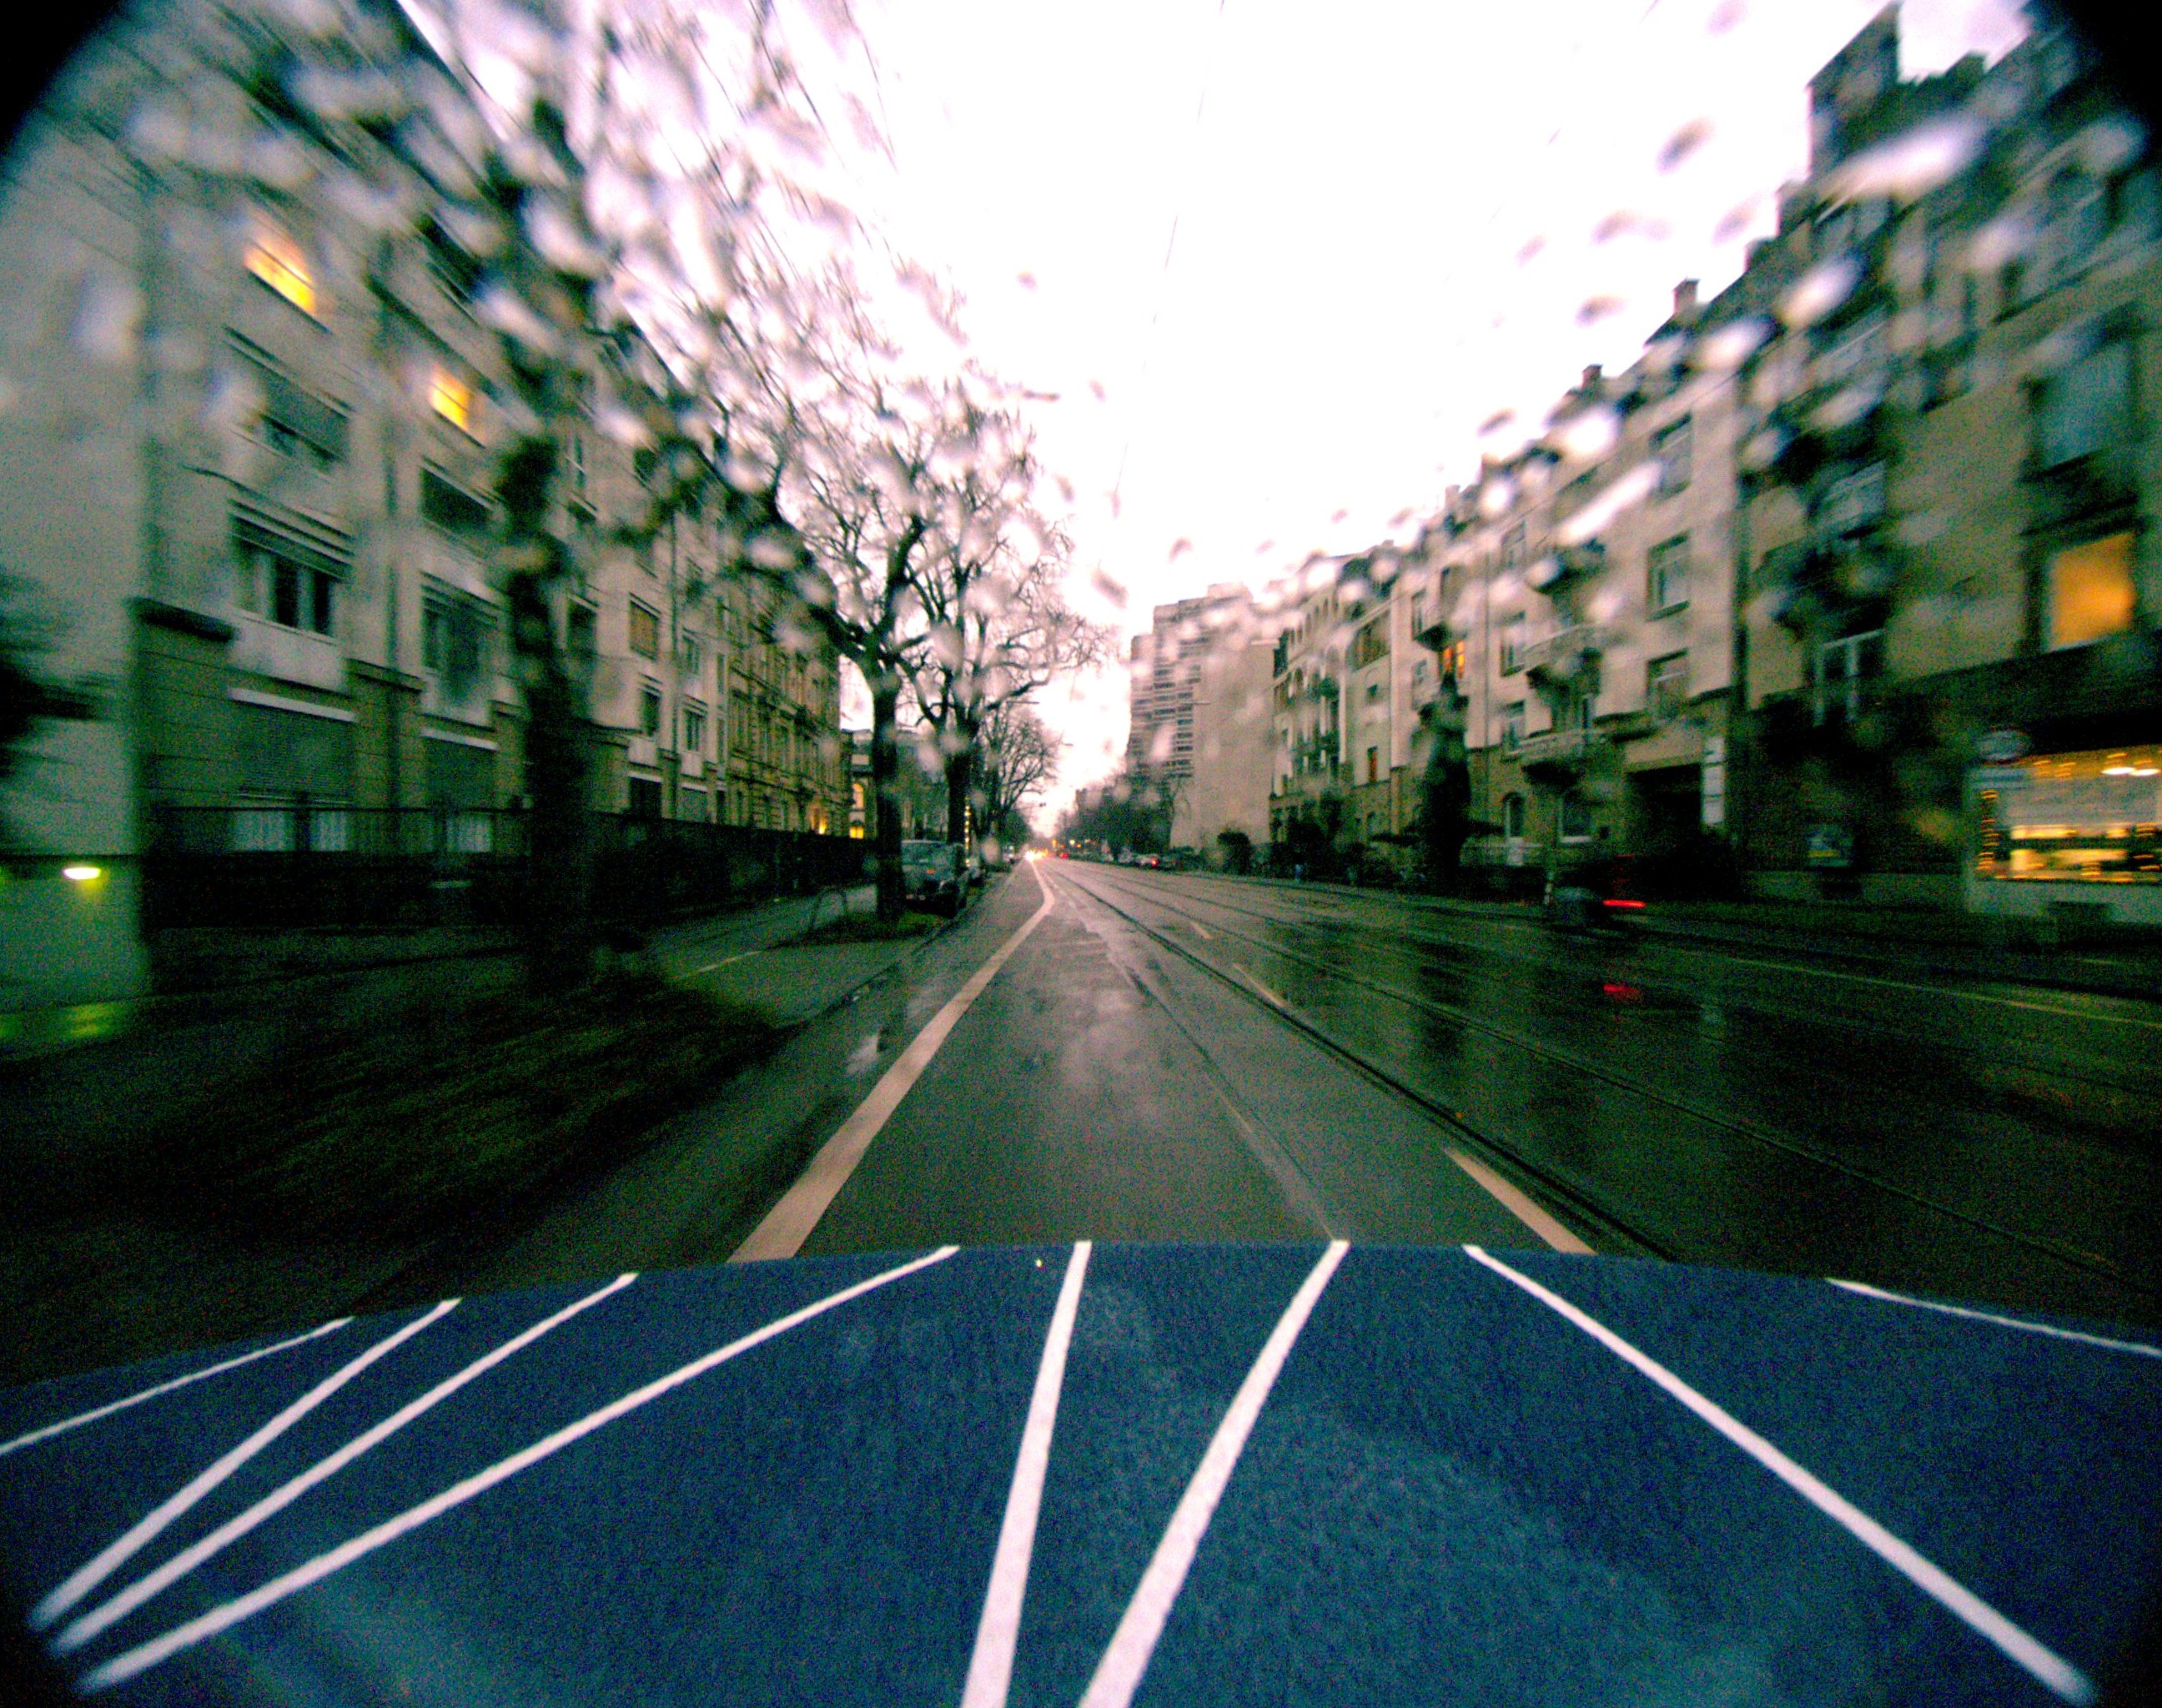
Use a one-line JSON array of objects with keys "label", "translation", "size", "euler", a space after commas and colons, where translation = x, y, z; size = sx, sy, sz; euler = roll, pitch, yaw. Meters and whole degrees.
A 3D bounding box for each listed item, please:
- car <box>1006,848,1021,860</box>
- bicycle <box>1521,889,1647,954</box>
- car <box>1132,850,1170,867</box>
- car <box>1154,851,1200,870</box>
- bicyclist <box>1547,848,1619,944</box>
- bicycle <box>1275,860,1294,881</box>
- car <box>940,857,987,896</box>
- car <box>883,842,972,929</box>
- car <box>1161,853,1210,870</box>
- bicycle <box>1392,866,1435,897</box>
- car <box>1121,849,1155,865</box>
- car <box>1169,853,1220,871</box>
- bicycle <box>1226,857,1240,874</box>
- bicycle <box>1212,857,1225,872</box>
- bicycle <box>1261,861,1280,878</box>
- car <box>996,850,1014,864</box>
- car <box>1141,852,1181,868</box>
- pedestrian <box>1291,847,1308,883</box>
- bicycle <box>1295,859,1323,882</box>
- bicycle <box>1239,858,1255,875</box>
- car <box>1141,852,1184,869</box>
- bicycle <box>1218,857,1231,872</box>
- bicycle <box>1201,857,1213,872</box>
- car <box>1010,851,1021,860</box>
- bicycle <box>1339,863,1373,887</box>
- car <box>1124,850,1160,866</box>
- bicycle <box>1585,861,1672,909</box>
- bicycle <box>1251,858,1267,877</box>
[{"label": "car", "translation": [-8.818, -0.055, 98.924], "size": [1.727, 1.405, 3.840], "euler": [-3, 1, -7]}, {"label": "bicycle", "translation": [8.036, 1.050, 12.228], "size": [0.649, 0.884, 1.711], "euler": [1, 0, -11]}, {"label": "car", "translation": [7.772, 0.472, 84.506], "size": [3.841, 1.707, 1.726], "euler": [-3, 0, -3]}, {"label": "car", "translation": [8.539, 0.580, 67.812], "size": [3.841, 1.405, 1.726], "euler": [-3, 1, -3]}, {"label": "bicyclist", "translation": [8.052, 0.660, 12.205], "size": [0.658, 1.492, 0.657], "euler": [1, 1, -11]}, {"label": "bicycle", "translation": [10.597, 0.849, 39.568], "size": [0.435, 1.001, 1.712], "euler": [-3, 1, -2]}, {"label": "car", "translation": [-4.842, 0.900, 31.635], "size": [1.727, 1.405, 3.840], "euler": [-3, 1, -7]}, {"label": "car", "translation": [-3.902, 0.716, 20.037], "size": [1.727, 1.934, 4.506], "euler": [-3, 1, -5]}, {"label": "car", "translation": [8.918, 0.650, 65.025], "size": [3.841, 1.405, 1.726], "euler": [0, 0, -3]}, {"label": "bicycle", "translation": [11.353, 0.913, 26.020], "size": [0.531, 0.934, 2.085], "euler": [-3, 1, 0]}, {"label": "car", "translation": [6.868, 0.390, 91.235], "size": [3.841, 1.707, 1.726], "euler": [-3, 1, -3]}, {"label": "car", "translation": [9.282, 0.676, 62.371], "size": [3.841, 1.405, 1.726], "euler": [0, 1, -3]}, {"label": "bicycle", "translation": [9.775, 0.718, 48.833], "size": [0.435, 1.001, 1.880], "euler": [-3, 1, -2]}, {"label": "bicycle", "translation": [9.587, 0.740, 52.897], "size": [0.435, 1.001, 1.880], "euler": [-3, 1, -2]}, {"label": "bicycle", "translation": [10.309, 0.843, 41.367], "size": [0.442, 0.827, 1.767], "euler": [-3, 1, -2]}, {"label": "car", "translation": [-7.969, 0.286, 79.674], "size": [1.727, 1.405, 3.840], "euler": [0, 0, -7]}, {"label": "car", "translation": [8.187, 0.593, 78.119], "size": [3.841, 1.405, 1.726], "euler": [-3, 1, -3]}, {"label": "pedestrian", "translation": [10.091, 0.497, 35.085], "size": [0.574, 1.633, 0.448], "euler": [-3, 1, -7]}, {"label": "bicycle", "translation": [10.849, 0.780, 36.221], "size": [0.524, 1.001, 2.208], "euler": [-3, 1, -2]}, {"label": "bicycle", "translation": [9.929, 0.737, 45.416], "size": [0.435, 1.001, 1.880], "euler": [-3, 1, -2]}, {"label": "car", "translation": [7.887, 0.626, 73.602], "size": [3.841, 1.405, 1.726], "euler": [-2, 0, -3]}, {"label": "bicycle", "translation": [9.588, 0.695, 50.833], "size": [0.435, 1.001, 1.880], "euler": [-3, 1, -2]}, {"label": "bicycle", "translation": [9.264, 0.756, 55.766], "size": [0.469, 1.001, 1.880], "euler": [-3, 1, -2]}, {"label": "car", "translation": [-11.601, 0.252, 135.087], "size": [1.727, 1.405, 3.840], "euler": [-3, 1, -7]}, {"label": "bicycle", "translation": [11.130, 0.840, 30.817], "size": [0.531, 0.885, 2.209], "euler": [-3, 1, 0]}, {"label": "car", "translation": [6.953, 0.447, 87.279], "size": [3.841, 1.707, 1.726], "euler": [-3, 1, -3]}, {"label": "bicycle", "translation": [14.550, 0.809, 20.210], "size": [1.990, 1.152, 0.531], "euler": [-3, 1, -5]}, {"label": "bicycle", "translation": [10.090, 0.746, 43.112], "size": [0.435, 1.001, 1.604], "euler": [-3, 1, -2]}]
